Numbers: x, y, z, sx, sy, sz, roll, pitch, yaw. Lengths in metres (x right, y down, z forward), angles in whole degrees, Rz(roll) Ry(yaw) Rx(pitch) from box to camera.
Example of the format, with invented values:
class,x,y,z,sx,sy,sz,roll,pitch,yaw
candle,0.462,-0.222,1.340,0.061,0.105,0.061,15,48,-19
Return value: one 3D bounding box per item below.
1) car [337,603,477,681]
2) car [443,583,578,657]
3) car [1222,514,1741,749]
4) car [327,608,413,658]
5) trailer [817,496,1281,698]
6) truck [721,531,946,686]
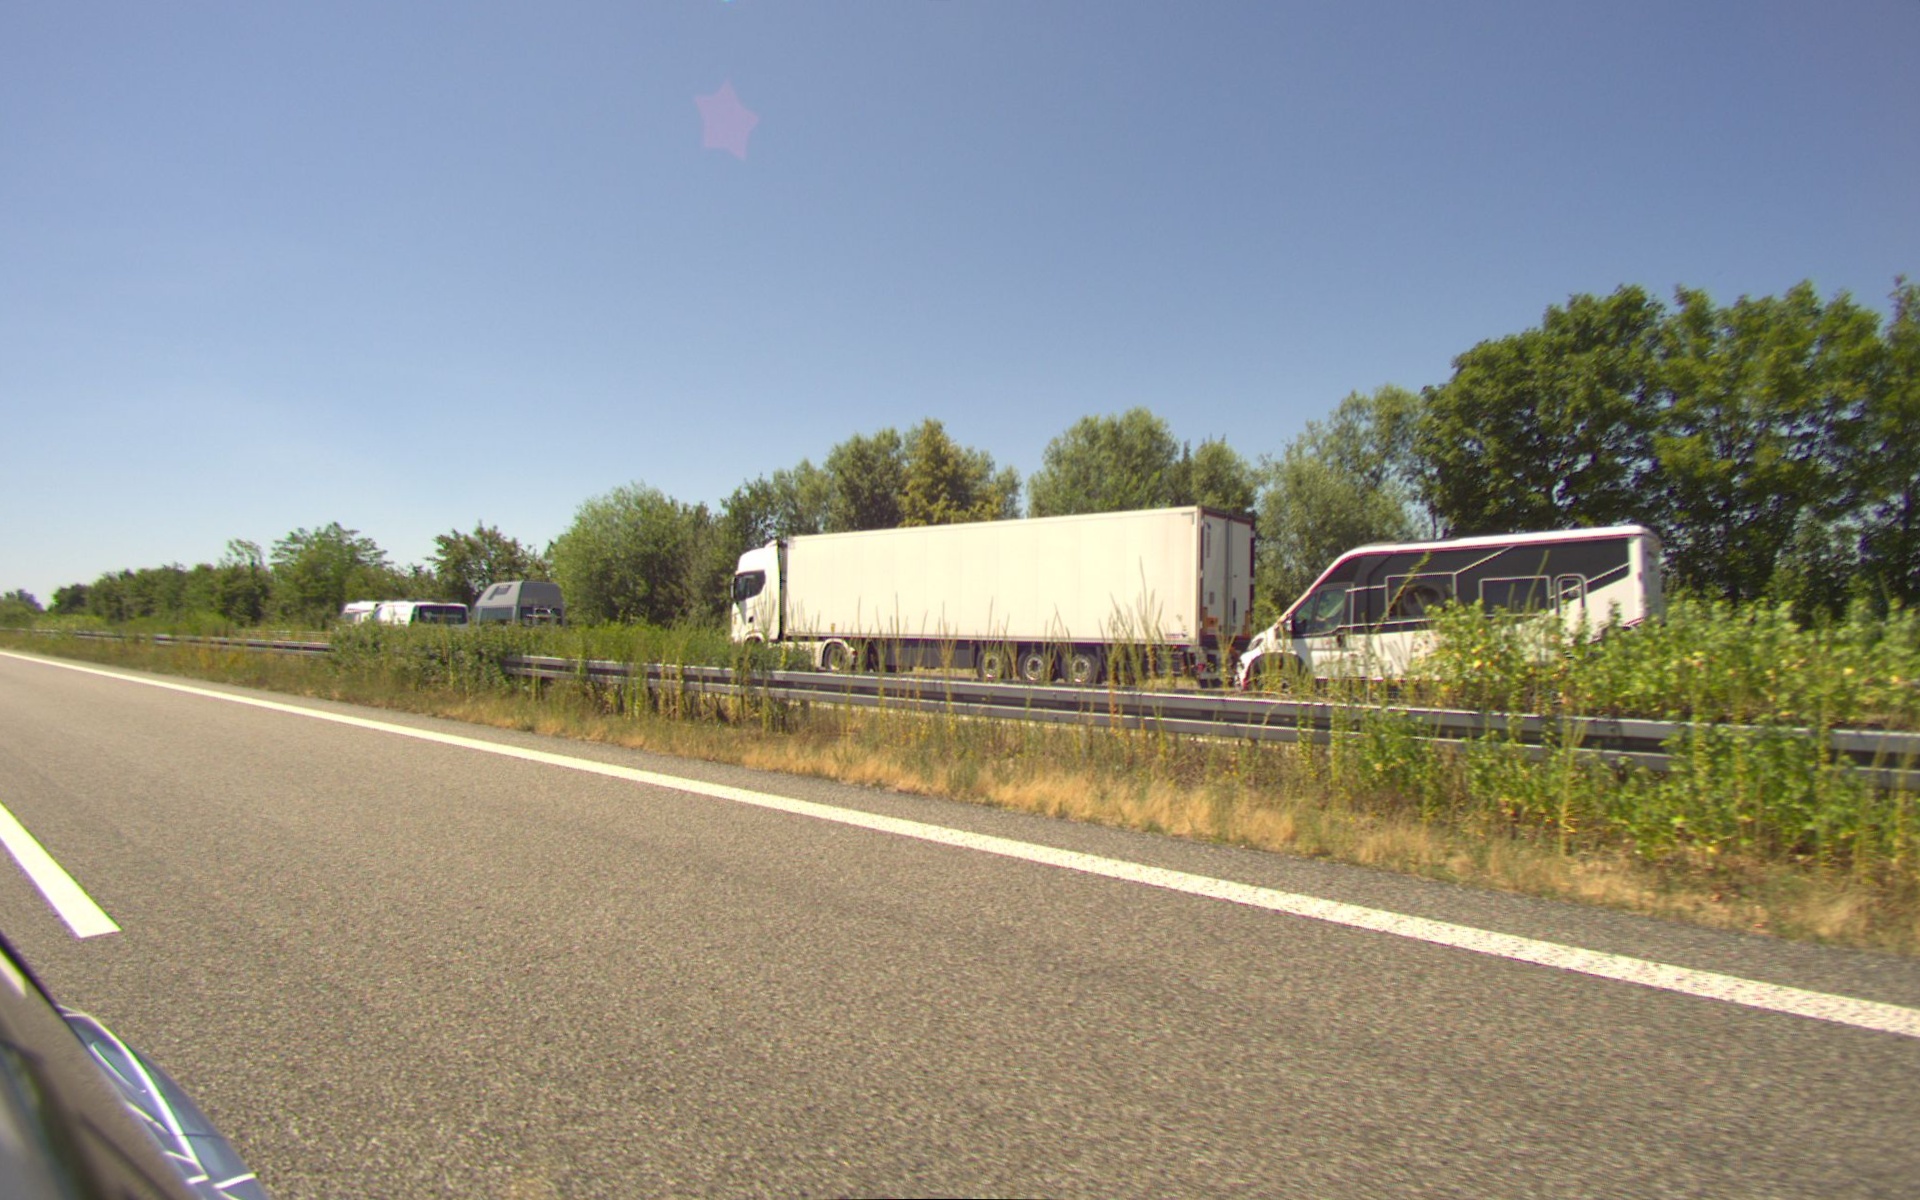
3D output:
class,x,y,z,sx,sy,sz,roll,pitch,yaw
car,-16.618,1.213,30.285,5.274,2.136,1.906,-1,-1,40
car,-15.660,0.702,35.144,5.294,2.380,2.187,-1,-2,40
car,7.518,0.452,15.216,6.601,2.844,2.305,-1,-2,40
car,-31.446,1.741,53.875,6.012,2.482,2.081,-1,-2,41
trailer,1.576,0.120,25.626,12.227,4.070,3.015,-2,-2,41
truck,-3.918,0.309,30.420,6.521,4.143,3.040,-2,-1,41
